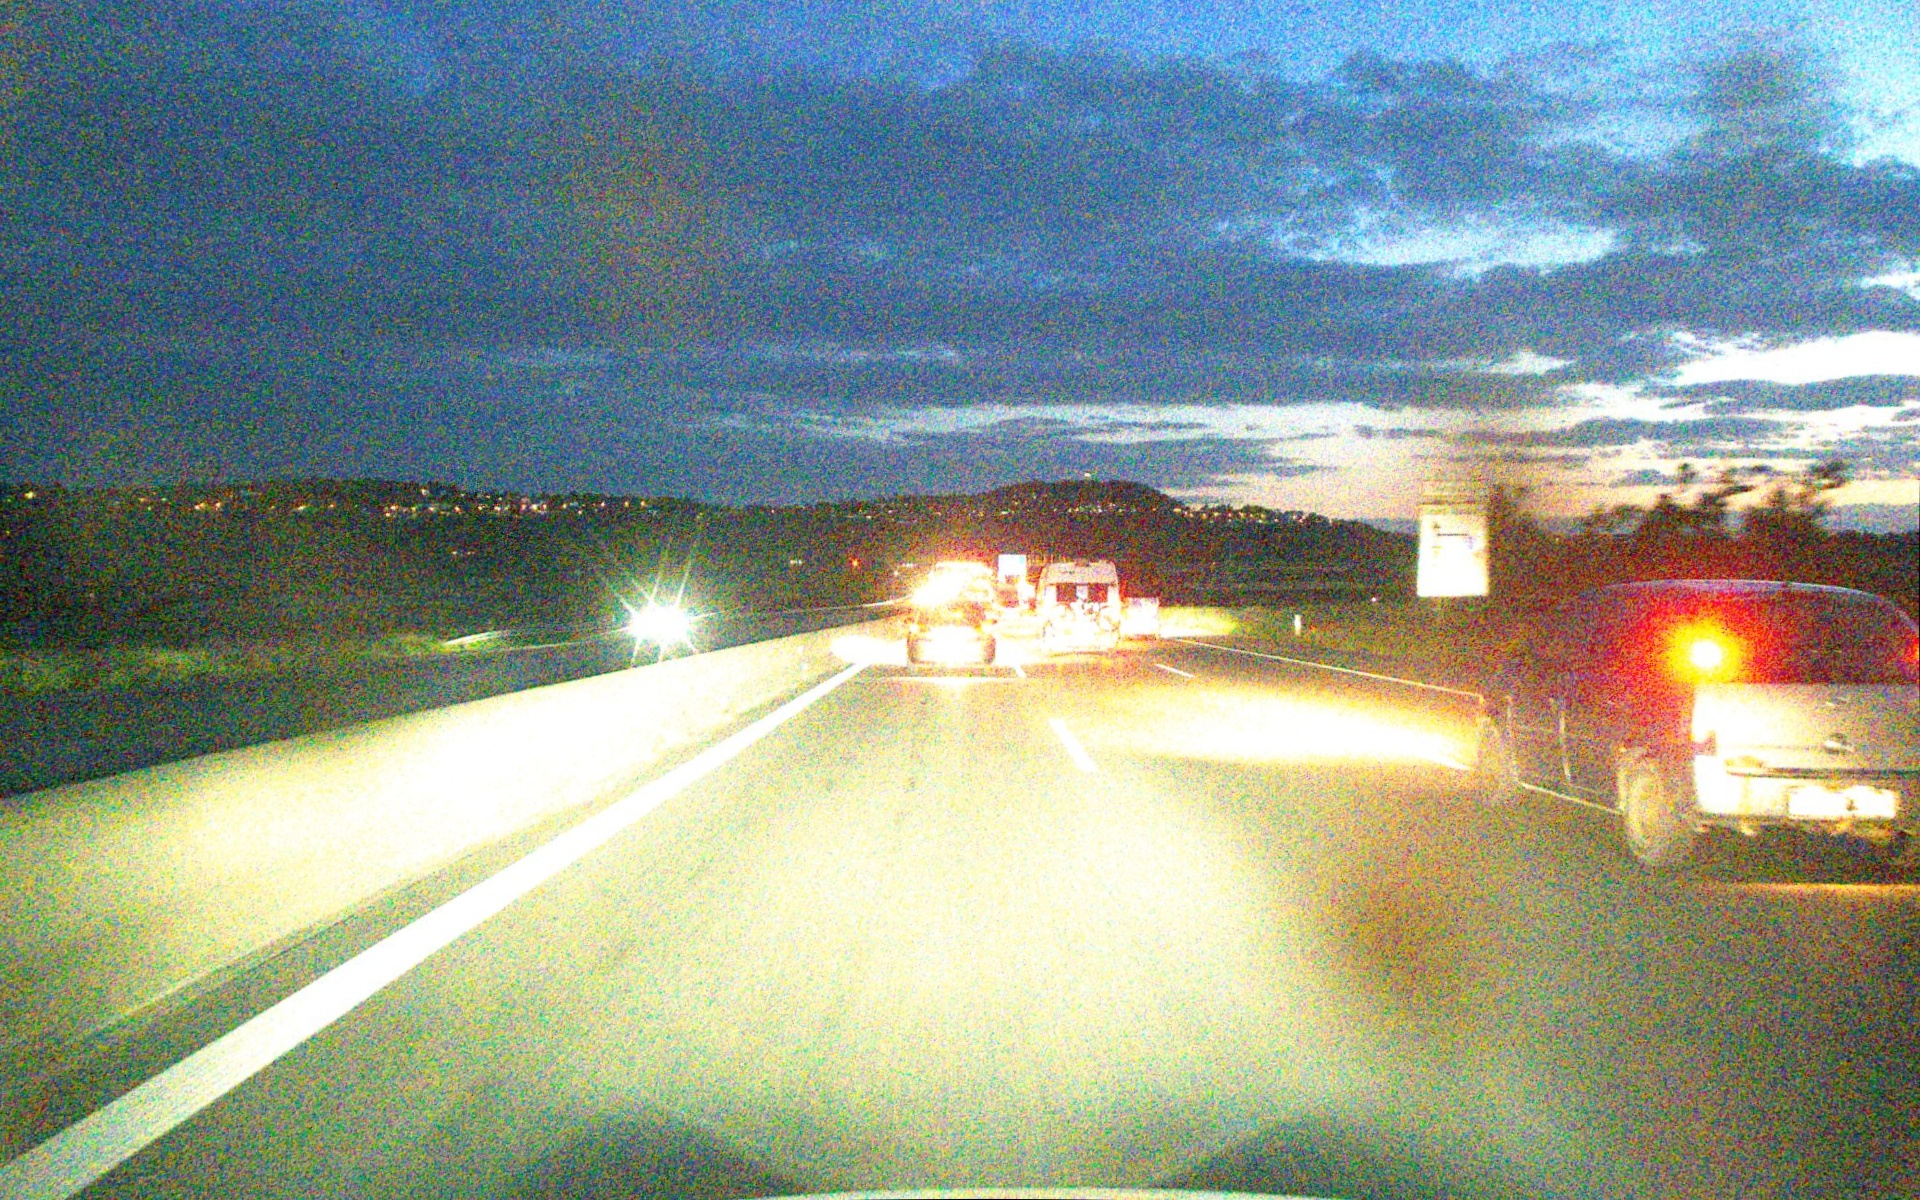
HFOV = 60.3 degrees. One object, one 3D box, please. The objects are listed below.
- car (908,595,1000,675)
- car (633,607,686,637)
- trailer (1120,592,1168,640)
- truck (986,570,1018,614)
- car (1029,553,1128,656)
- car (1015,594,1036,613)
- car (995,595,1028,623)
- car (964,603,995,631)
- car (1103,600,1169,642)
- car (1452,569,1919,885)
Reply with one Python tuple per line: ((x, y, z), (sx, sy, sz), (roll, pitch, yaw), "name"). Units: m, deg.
((-0.086, 0.657, 33.351), (1.757, 1.494, 3.773), (0, 1, 1), "car")
((-15.764, 1.135, 86.992), (1.953, 1.444, 4.982), (-3, 0, -1), "car")
((6.774, 0.588, 61.068), (1.533, 1.723, 2.821), (-1, 0, 1), "trailer")
((3.962, -0.752, 158.233), (2.724, 4.024, 7.991), (-1, 0, -1), "truck")
((3.134, 0.078, 44.914), (2.303, 2.579, 5.701), (-1, 0, 1), "car")
((7.717, 0.437, 195.977), (2.303, 2.112, 4.723), (-1, 0, 1), "car")
((3.791, 0.646, 121.777), (2.303, 1.947, 4.723), (-1, 0, 1), "car")
((1.094, 0.973, 93.699), (1.709, 1.465, 4.368), (-1, 1, 1), "car")
((6.840, 0.793, 64.742), (2.118, 1.591, 4.723), (0, 0, 1), "car")
((4.683, 0.651, 10.748), (1.612, 1.624, 4.509), (0, 0, 0), "car")
